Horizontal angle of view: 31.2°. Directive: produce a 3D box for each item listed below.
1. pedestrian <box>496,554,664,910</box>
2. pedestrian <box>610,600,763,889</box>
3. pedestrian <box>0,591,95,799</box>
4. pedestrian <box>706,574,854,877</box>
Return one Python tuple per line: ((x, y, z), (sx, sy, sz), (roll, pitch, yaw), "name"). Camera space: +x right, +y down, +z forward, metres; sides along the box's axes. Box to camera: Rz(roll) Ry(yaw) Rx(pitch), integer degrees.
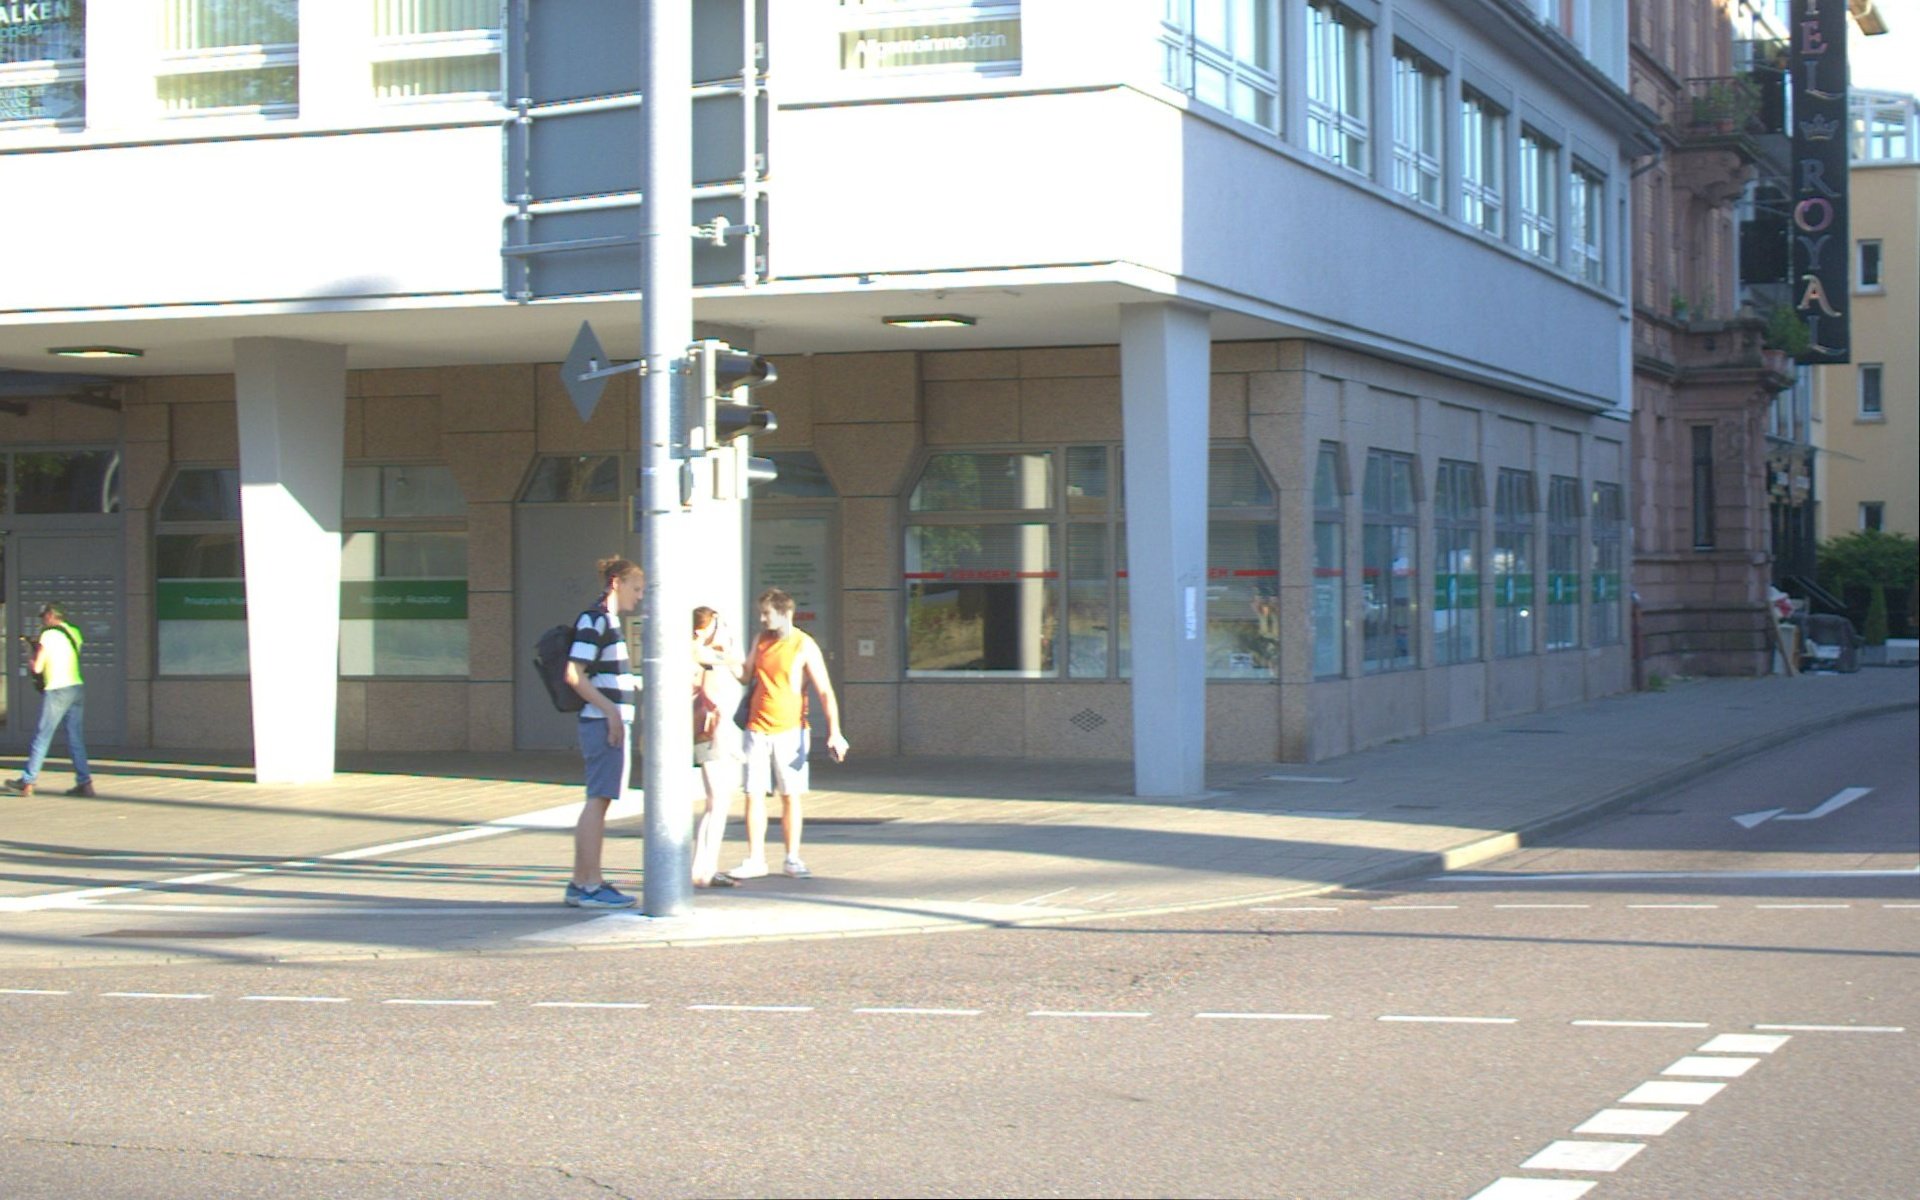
((-2.130, 0.715, 19.233), (0.721, 1.940, 0.718), (-1, 0, -26), "pedestrian")
((-1.623, 0.847, 20.458), (0.728, 1.679, 0.585), (0, 0, 18), "pedestrian")
((-8.000, 0.819, 30.029), (0.639, 1.785, 0.585), (0, 0, 18), "pedestrian")
((-1.092, 0.752, 21.000), (0.750, 1.812, 0.713), (0, 0, 10), "pedestrian")
